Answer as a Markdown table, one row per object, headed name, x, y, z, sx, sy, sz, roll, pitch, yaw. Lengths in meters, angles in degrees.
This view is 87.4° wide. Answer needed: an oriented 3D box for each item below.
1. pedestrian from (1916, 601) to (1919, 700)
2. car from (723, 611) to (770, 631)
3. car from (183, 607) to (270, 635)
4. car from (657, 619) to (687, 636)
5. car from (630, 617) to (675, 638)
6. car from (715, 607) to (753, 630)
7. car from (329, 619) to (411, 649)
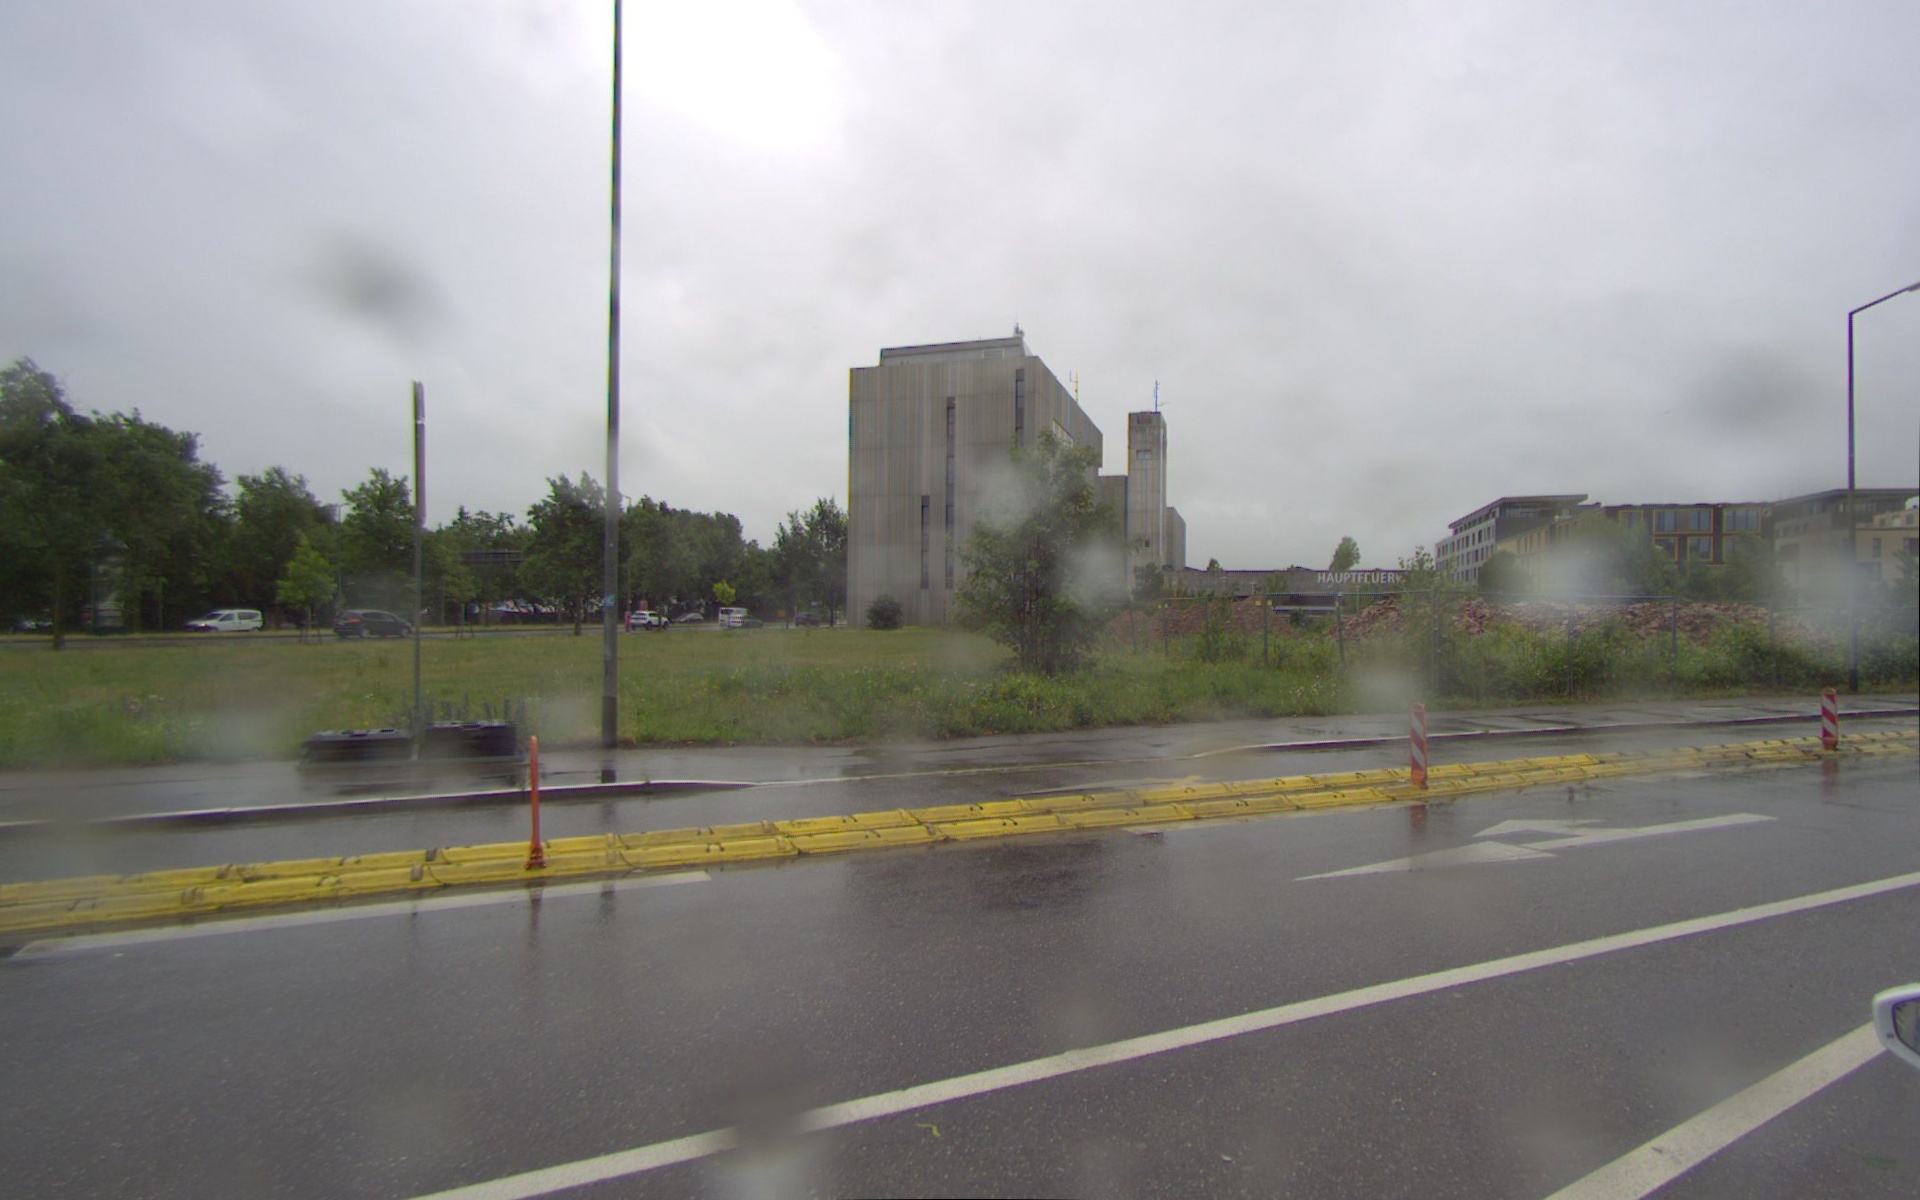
| name | x | y | z | sx | sy | sz | roll | pitch | yaw |
| --- | --- | --- | --- | --- | --- | --- | --- | --- | --- |
| pedestrian | 20.510 | 1.062 | 20.660 | 1.116 | 2.040 | 0.844 | 3 | -2 | -23 |
| car | -19.798 | 1.947 | 93.370 | 1.755 | 1.834 | 4.834 | 0 | -1 | 25 |
| car | -47.997 | 1.428 | 65.858 | 1.753 | 1.669 | 4.344 | 2 | -2 | 17 |
| car | -31.735 | 3.043 | 110.800 | 1.753 | 1.703 | 4.003 | 2 | -2 | 7 |
| car | -26.952 | 2.406 | 88.191 | 1.653 | 1.669 | 3.947 | 2 | -2 | 21 |
| car | -22.606 | 1.858 | 100.573 | 1.753 | 2.062 | 4.002 | 2 | -2 | 18 |
| car | -35.380 | 2.077 | 60.346 | 1.753 | 1.669 | 4.002 | 2 | -2 | 18 |
